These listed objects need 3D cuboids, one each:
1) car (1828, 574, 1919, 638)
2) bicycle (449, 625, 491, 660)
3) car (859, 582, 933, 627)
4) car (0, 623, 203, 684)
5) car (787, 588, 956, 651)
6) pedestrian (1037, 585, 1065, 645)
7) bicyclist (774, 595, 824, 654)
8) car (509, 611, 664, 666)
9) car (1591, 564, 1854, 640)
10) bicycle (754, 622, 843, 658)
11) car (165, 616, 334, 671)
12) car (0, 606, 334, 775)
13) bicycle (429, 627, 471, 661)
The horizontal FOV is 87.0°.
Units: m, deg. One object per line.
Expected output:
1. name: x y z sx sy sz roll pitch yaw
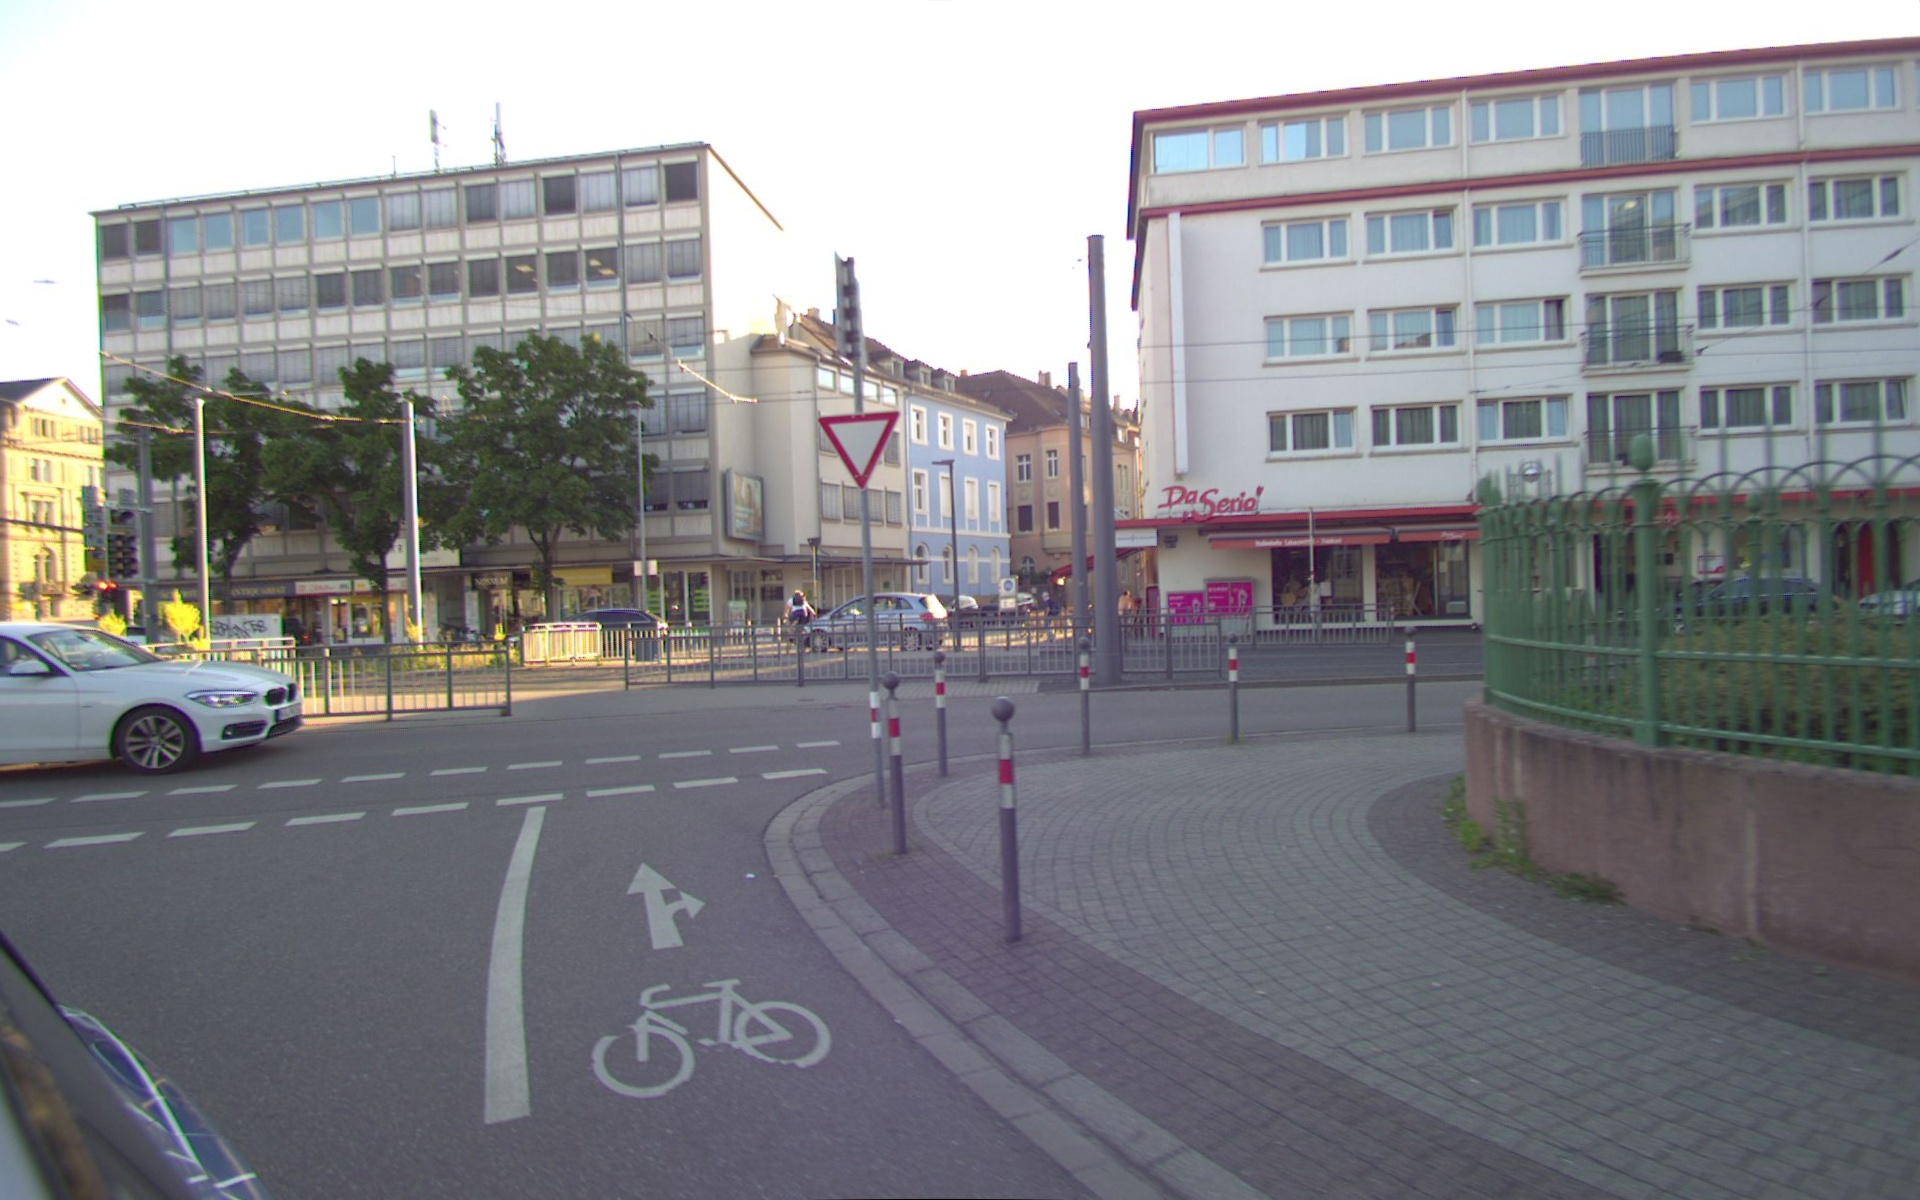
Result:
1. car: 24.311 0.078 24.612 4.355 1.476 1.993 -2 0 12
2. bicycle: -18.103 1.566 37.415 0.532 1.194 1.633 -2 1 8
3. car: -2.409 0.152 39.147 1.866 1.586 4.236 -2 0 11
4. car: -25.091 1.536 29.600 4.606 1.451 2.036 -3 1 8
5. car: -2.386 0.523 27.979 4.233 1.571 2.198 -2 0 10
6. pedestrian: 2.800 0.464 31.200 0.801 1.802 0.853 -2 0 4
7. bicyclist: -4.125 0.620 25.869 0.929 1.452 0.824 -2 0 39
8. car: -11.487 1.158 31.370 4.299 1.446 1.742 -2 0 -13
9. car: 18.888 0.061 25.314 4.789 1.678 1.993 -2 0 12
10. bicycle: -4.140 1.003 25.883 2.420 0.853 0.835 -1 0 39
11. car: -23.049 1.396 32.918 4.251 1.586 1.996 -2 0 7
12. car: -8.803 0.833 9.815 4.233 1.416 1.921 -2 1 -11
13. bicycle: -19.025 1.612 37.786 0.657 1.148 1.745 -2 1 1
